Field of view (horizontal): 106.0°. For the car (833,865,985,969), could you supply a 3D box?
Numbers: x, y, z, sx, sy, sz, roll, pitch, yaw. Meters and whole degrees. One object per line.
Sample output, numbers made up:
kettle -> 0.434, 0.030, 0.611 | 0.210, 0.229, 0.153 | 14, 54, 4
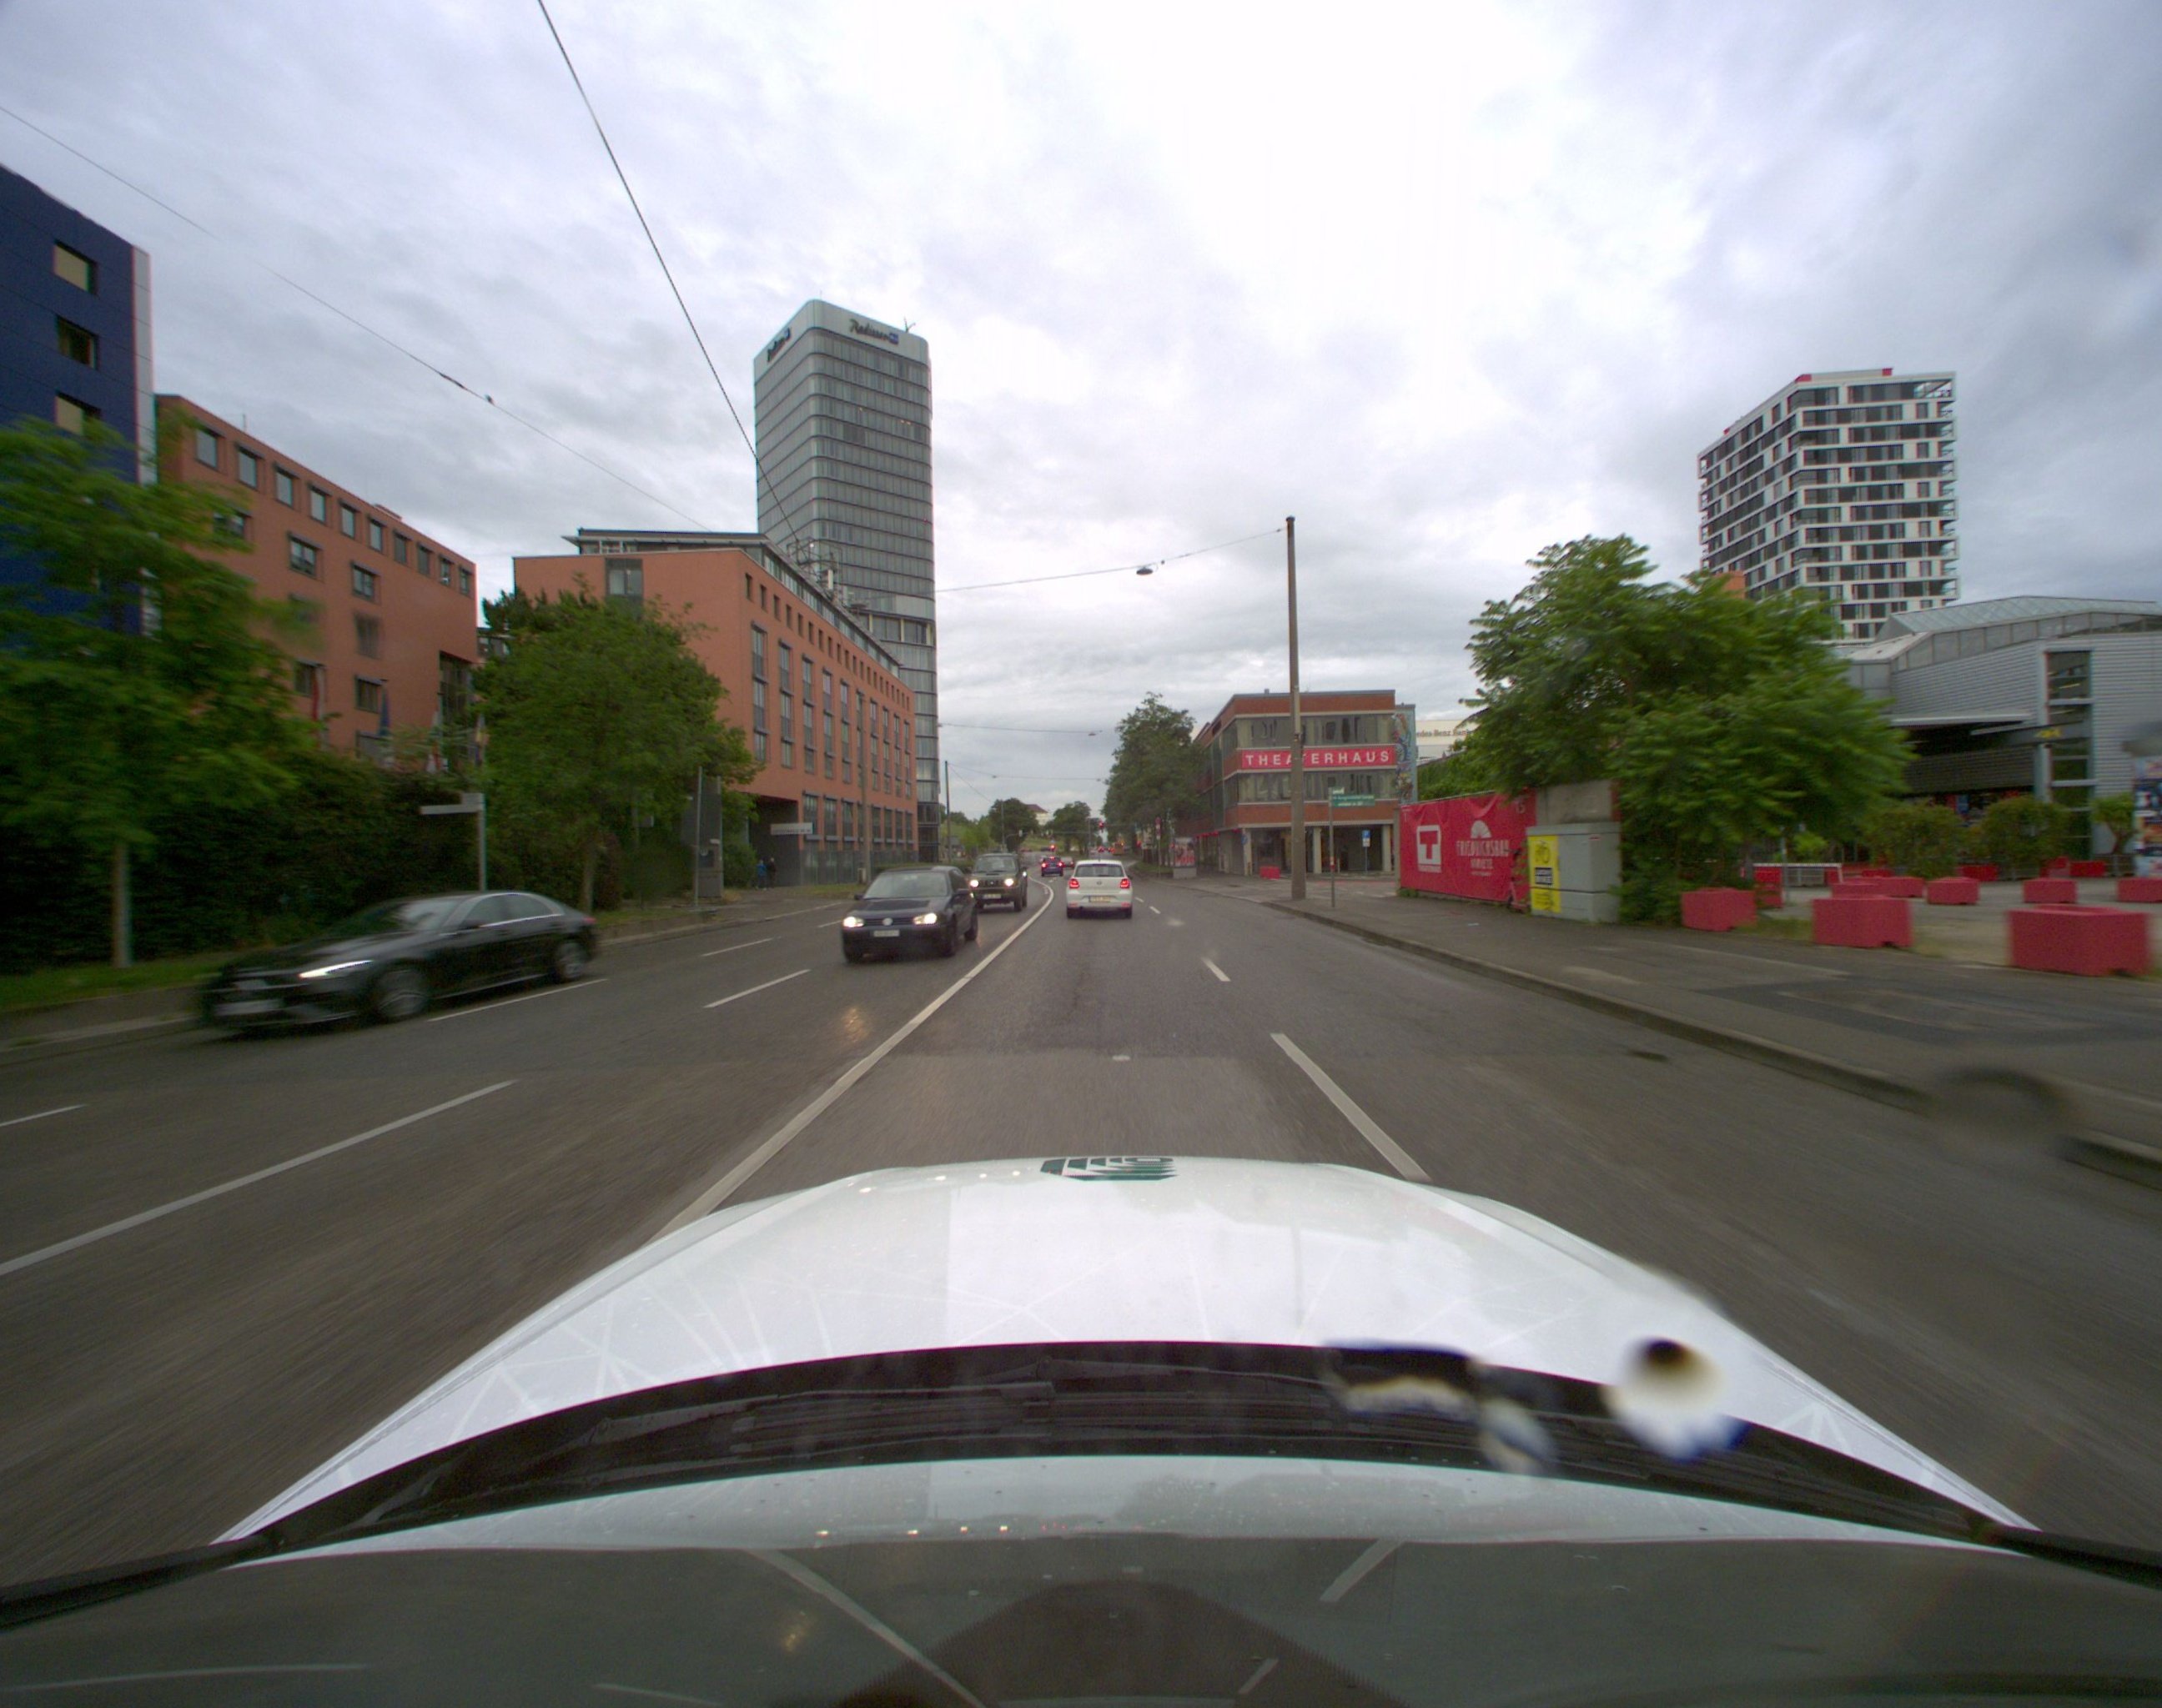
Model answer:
car -> -2.796, 0.963, 14.068 | 1.653, 1.486, 3.821 | -2, -1, 2

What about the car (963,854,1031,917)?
car -> -2.437, 0.870, 24.296 | 1.497, 1.666, 3.421 | -2, 0, 2

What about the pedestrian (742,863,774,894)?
pedestrian -> -18.539, 1.404, 46.758 | 1.202, 1.679, 1.420 | -4, -3, 1

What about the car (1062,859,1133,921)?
car -> 0.443, 0.884, 21.551 | 1.665, 1.474, 3.780 | -1, -1, 1

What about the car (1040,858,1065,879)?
car -> -2.325, 1.200, 67.681 | 1.988, 1.574, 3.997 | -1, -1, -2

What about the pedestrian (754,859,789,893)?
pedestrian -> -17.771, 1.288, 46.781 | 1.310, 1.824, 1.439 | -4, -3, 1

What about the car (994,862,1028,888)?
car -> -4.023, 1.224, 47.161 | 1.707, 1.365, 3.997 | -2, -1, -2

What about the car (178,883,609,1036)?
car -> -8.392, 1.171, 10.622 | 1.614, 1.323, 4.450 | -3, 0, 3
